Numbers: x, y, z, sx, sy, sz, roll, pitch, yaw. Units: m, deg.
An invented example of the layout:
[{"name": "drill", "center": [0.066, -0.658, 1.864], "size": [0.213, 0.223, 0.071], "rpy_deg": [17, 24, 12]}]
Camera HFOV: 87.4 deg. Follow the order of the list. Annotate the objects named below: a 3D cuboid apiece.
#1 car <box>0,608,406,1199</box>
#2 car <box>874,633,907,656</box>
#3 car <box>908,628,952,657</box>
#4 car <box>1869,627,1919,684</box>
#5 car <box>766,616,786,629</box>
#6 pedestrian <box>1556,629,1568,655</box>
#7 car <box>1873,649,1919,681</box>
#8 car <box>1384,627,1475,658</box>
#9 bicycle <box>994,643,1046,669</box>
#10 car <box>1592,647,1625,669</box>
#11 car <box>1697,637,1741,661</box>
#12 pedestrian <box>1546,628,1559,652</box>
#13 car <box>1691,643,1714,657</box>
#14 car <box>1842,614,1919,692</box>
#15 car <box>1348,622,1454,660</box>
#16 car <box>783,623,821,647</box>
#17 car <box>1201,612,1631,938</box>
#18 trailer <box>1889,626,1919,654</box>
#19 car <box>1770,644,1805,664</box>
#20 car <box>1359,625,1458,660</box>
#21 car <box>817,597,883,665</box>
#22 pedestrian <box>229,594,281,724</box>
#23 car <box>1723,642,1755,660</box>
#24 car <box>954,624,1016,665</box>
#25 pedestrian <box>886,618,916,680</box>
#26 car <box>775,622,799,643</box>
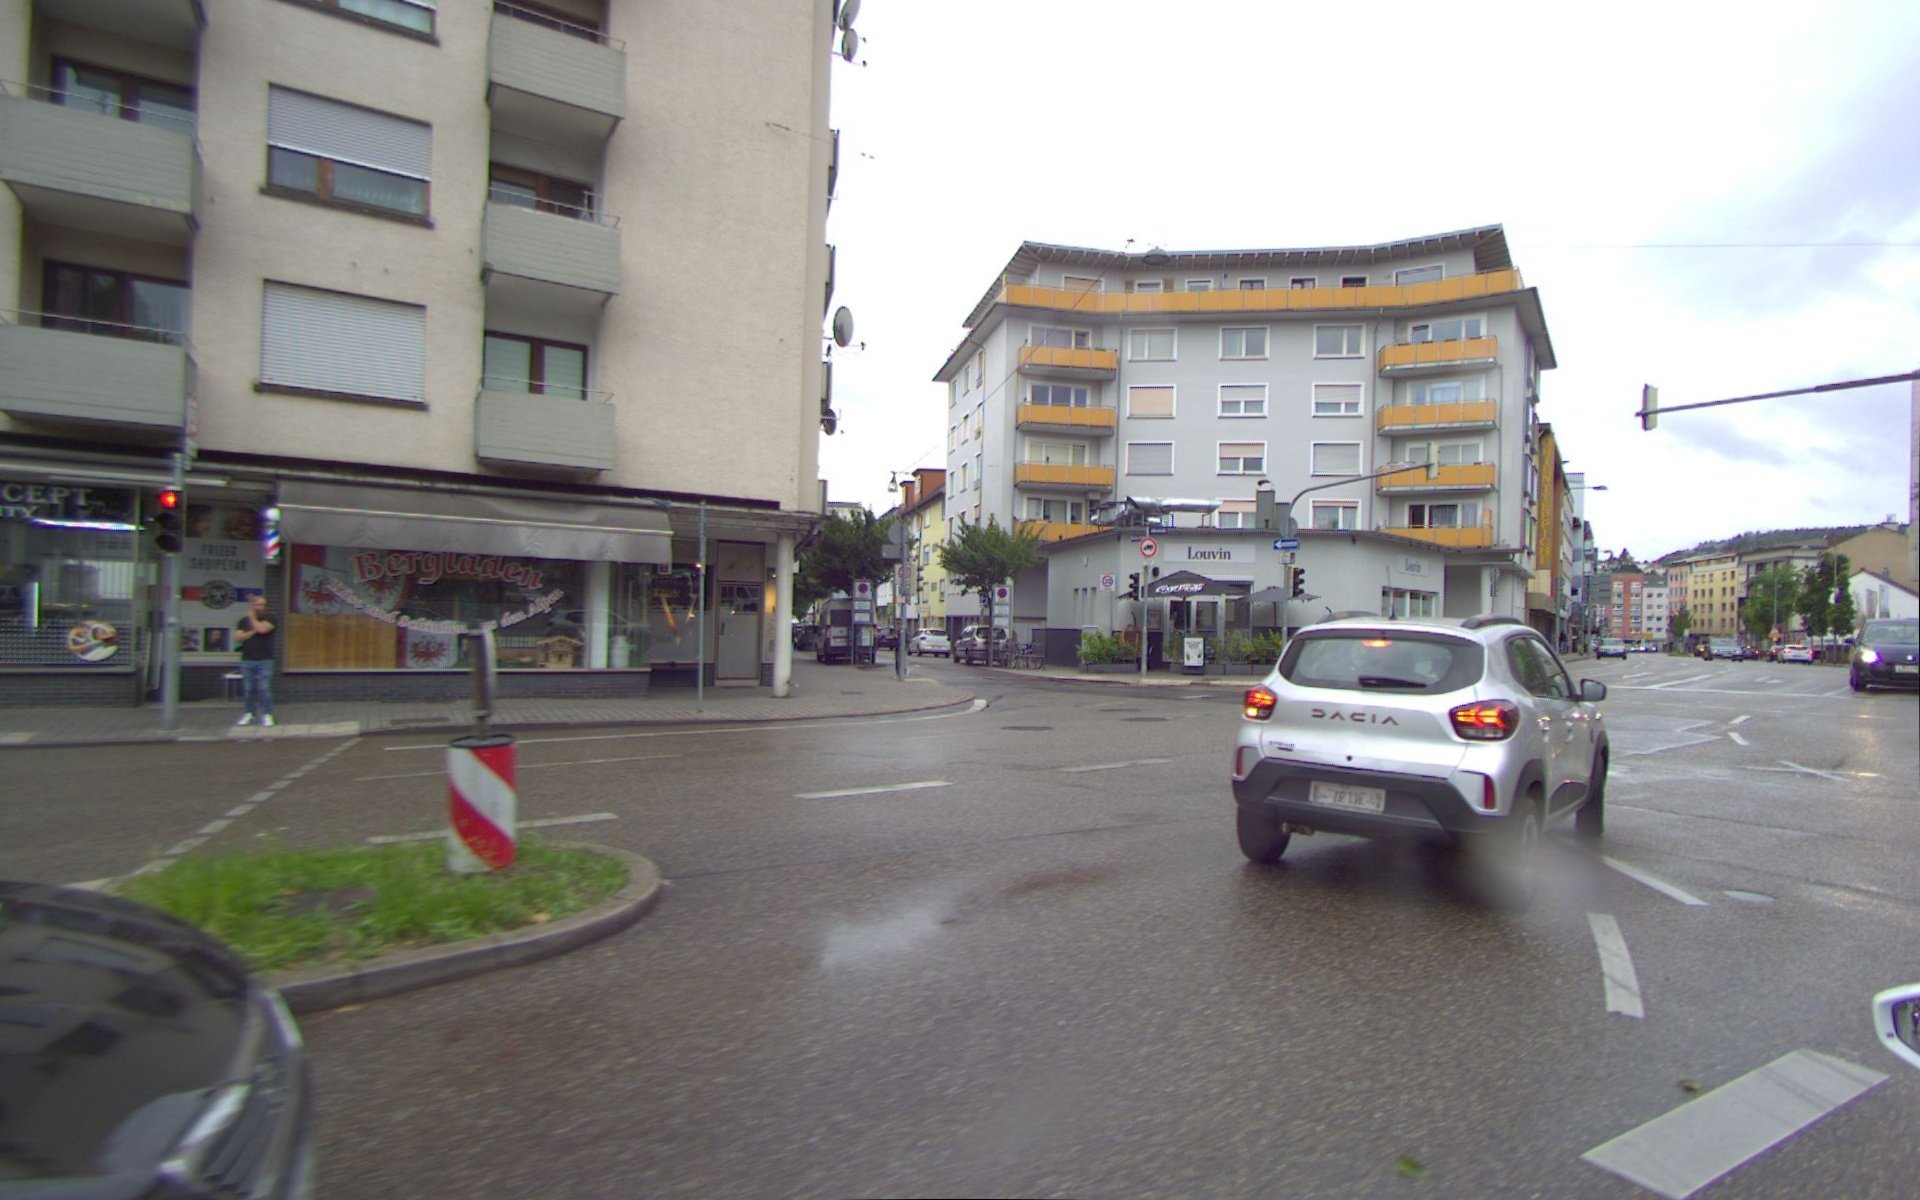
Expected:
[{"name": "car", "center": [-2.980, 0.700, 0.799], "size": [4.341, 1.453, 1.792], "rpy_deg": [3, 0, -28]}, {"name": "car", "center": [-4.790, 3.014, 68.778], "size": [1.868, 1.457, 3.993], "rpy_deg": [1, -1, -10]}, {"name": "car", "center": [-1.639, 2.244, 53.947], "size": [1.868, 1.457, 3.994], "rpy_deg": [1, -1, -9]}, {"name": "car", "center": [25.306, 1.446, 26.699], "size": [1.538, 1.416, 3.709], "rpy_deg": [-3, -3, 40]}, {"name": "car", "center": [-21.599, 2.663, 117.911], "size": [1.871, 1.457, 3.987], "rpy_deg": [1, -1, -16]}, {"name": "pedestrian", "center": [43.152, 3.035, 72.016], "size": [0.567, 1.812, 0.824], "rpy_deg": [6, 1, 34]}, {"name": "car", "center": [44.563, 3.017, 46.980], "size": [1.763, 1.421, 4.625], "rpy_deg": [-1, -2, 30]}, {"name": "car", "center": [21.339, 1.957, 45.726], "size": [3.572, 1.355, 1.492], "rpy_deg": [-2, -3, 32]}, {"name": "bicycle", "center": [2.159, 2.022, 36.270], "size": [1.806, 0.913, 0.544], "rpy_deg": [1, -1, -17]}, {"name": "car", "center": [44.018, 3.972, 68.181], "size": [1.705, 1.384, 4.098], "rpy_deg": [0, -3, 35]}, {"name": "car", "center": [47.881, 3.092, 63.424], "size": [1.708, 1.458, 4.405], "rpy_deg": [0, -2, 31]}, {"name": "pedestrian", "center": [42.725, 2.880, 72.462], "size": [0.621, 1.697, 0.906], "rpy_deg": [6, 1, 33]}, {"name": "car", "center": [87.601, 5.893, 118.508], "size": [1.925, 1.415, 3.855], "rpy_deg": [1, 0, 34]}, {"name": "car", "center": [21.263, 1.154, 22.807], "size": [1.735, 1.636, 4.191], "rpy_deg": [-1, -2, 40]}, {"name": "car", "center": [18.370, 1.742, 41.843], "size": [3.762, 1.439, 1.792], "rpy_deg": [-3, -5, 35]}, {"name": "car", "center": [-9.886, 2.182, 62.791], "size": [1.871, 1.457, 3.987], "rpy_deg": [1, -1, -16]}, {"name": "car", "center": [3.126, 0.853, 6.490], "size": [1.520, 1.481, 3.610], "rpy_deg": [1, -1, 42]}, {"name": "trailer", "center": [95.003, 4.010, 100.683], "size": [2.100, 2.752, 5.372], "rpy_deg": [-2, -3, 36]}, {"name": "car", "center": [62.500, 4.082, 75.919], "size": [1.642, 1.414, 3.856], "rpy_deg": [0, -1, 33]}, {"name": "car", "center": [19.600, 1.883, 43.929], "size": [3.707, 1.439, 1.633], "rpy_deg": [-3, -3, 35]}, {"name": "car", "center": [-4.522, 1.243, 40.480], "size": [2.363, 2.542, 5.250], "rpy_deg": [1, -1, -9]}, {"name": "pedestrian", "center": [-9.753, 0.803, 13.907], "size": [0.517, 1.754, 0.450], "rpy_deg": [1, 3, -27]}, {"name": "car", "center": [69.258, 4.531, 89.311], "size": [1.640, 1.415, 3.860], "rpy_deg": [1, 0, 29]}, {"name": "car", "center": [0.976, 1.805, 41.623], "size": [1.868, 1.630, 3.994], "rpy_deg": [1, -1, -9]}, {"name": "pedestrian", "center": [-1.651, 1.364, 28.172], "size": [0.595, 1.672, 0.525], "rpy_deg": [4, -1, -24]}, {"name": "car", "center": [-17.721, 3.277, 102.639], "size": [1.967, 1.884, 3.988], "rpy_deg": [3, 0, -15]}]
